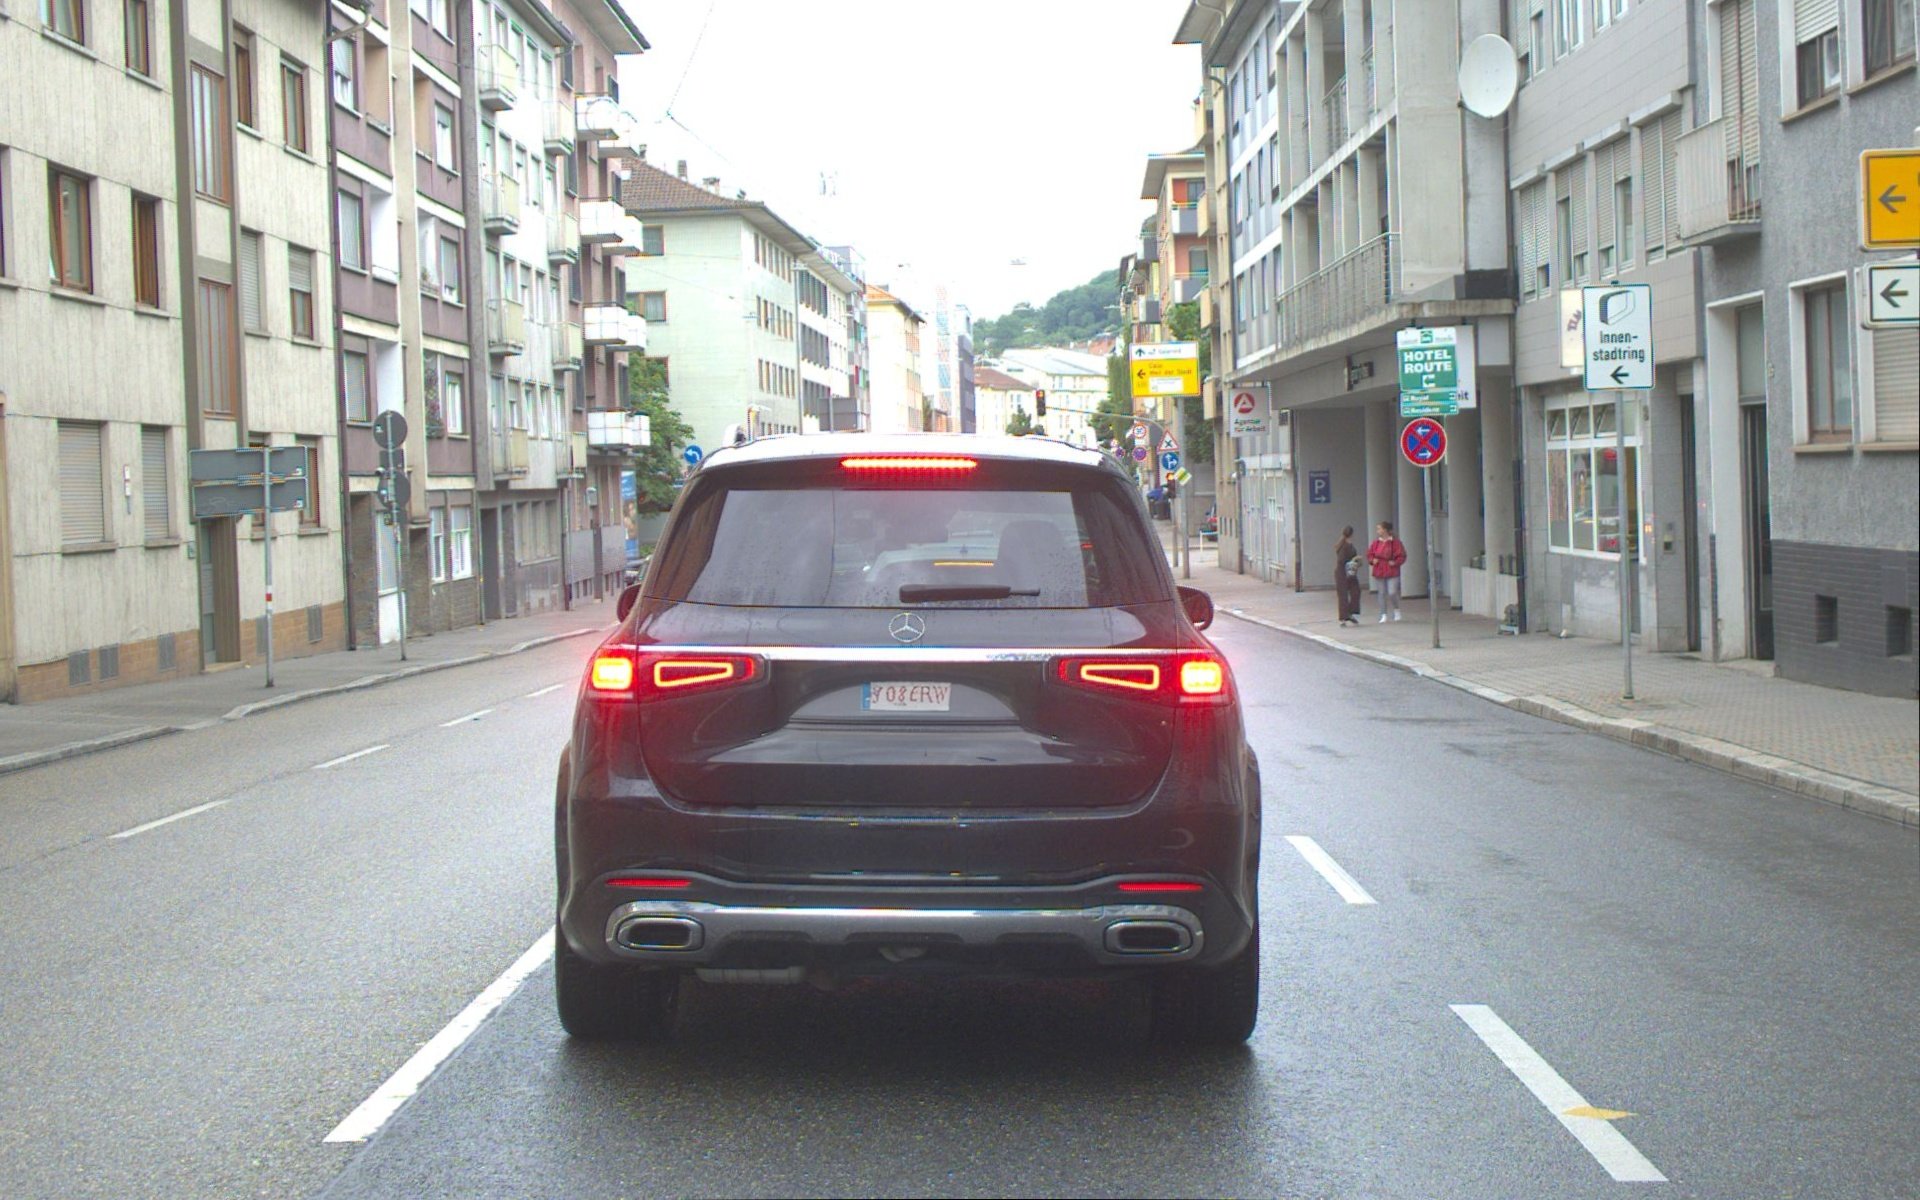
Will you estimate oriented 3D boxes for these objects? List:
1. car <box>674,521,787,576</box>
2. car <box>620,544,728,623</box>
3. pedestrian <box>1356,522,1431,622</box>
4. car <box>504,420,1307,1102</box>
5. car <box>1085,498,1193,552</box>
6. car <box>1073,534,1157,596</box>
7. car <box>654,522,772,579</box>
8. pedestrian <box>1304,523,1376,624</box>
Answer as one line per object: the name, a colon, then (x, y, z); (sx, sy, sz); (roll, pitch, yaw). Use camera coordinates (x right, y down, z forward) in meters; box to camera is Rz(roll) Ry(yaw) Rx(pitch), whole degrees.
car: (-8.581, -1.935, 128.620); (3.987, 2.007, 2.000); (0, 2, 3)
car: (-5.669, -0.358, 68.563); (1.891, 1.453, 4.550); (0, 2, -1)
pedestrian: (6.810, -0.449, 54.019); (0.823, 1.560, 0.897); (1, 2, 38)
car: (-0.173, 0.345, 11.239); (2.076, 1.759, 4.611); (0, 2, -1)
car: (6.695, -2.814, 128.733); (3.987, 2.007, 2.000); (0, 2, 3)
car: (3.690, -0.864, 82.451); (1.734, 1.383, 4.583); (0, 2, -1)
car: (-8.827, -1.775, 123.044); (3.987, 2.007, 2.000); (0, 2, 3)
pedestrian: (5.969, -0.431, 54.017); (0.820, 1.560, 0.900); (-1, 2, -19)
